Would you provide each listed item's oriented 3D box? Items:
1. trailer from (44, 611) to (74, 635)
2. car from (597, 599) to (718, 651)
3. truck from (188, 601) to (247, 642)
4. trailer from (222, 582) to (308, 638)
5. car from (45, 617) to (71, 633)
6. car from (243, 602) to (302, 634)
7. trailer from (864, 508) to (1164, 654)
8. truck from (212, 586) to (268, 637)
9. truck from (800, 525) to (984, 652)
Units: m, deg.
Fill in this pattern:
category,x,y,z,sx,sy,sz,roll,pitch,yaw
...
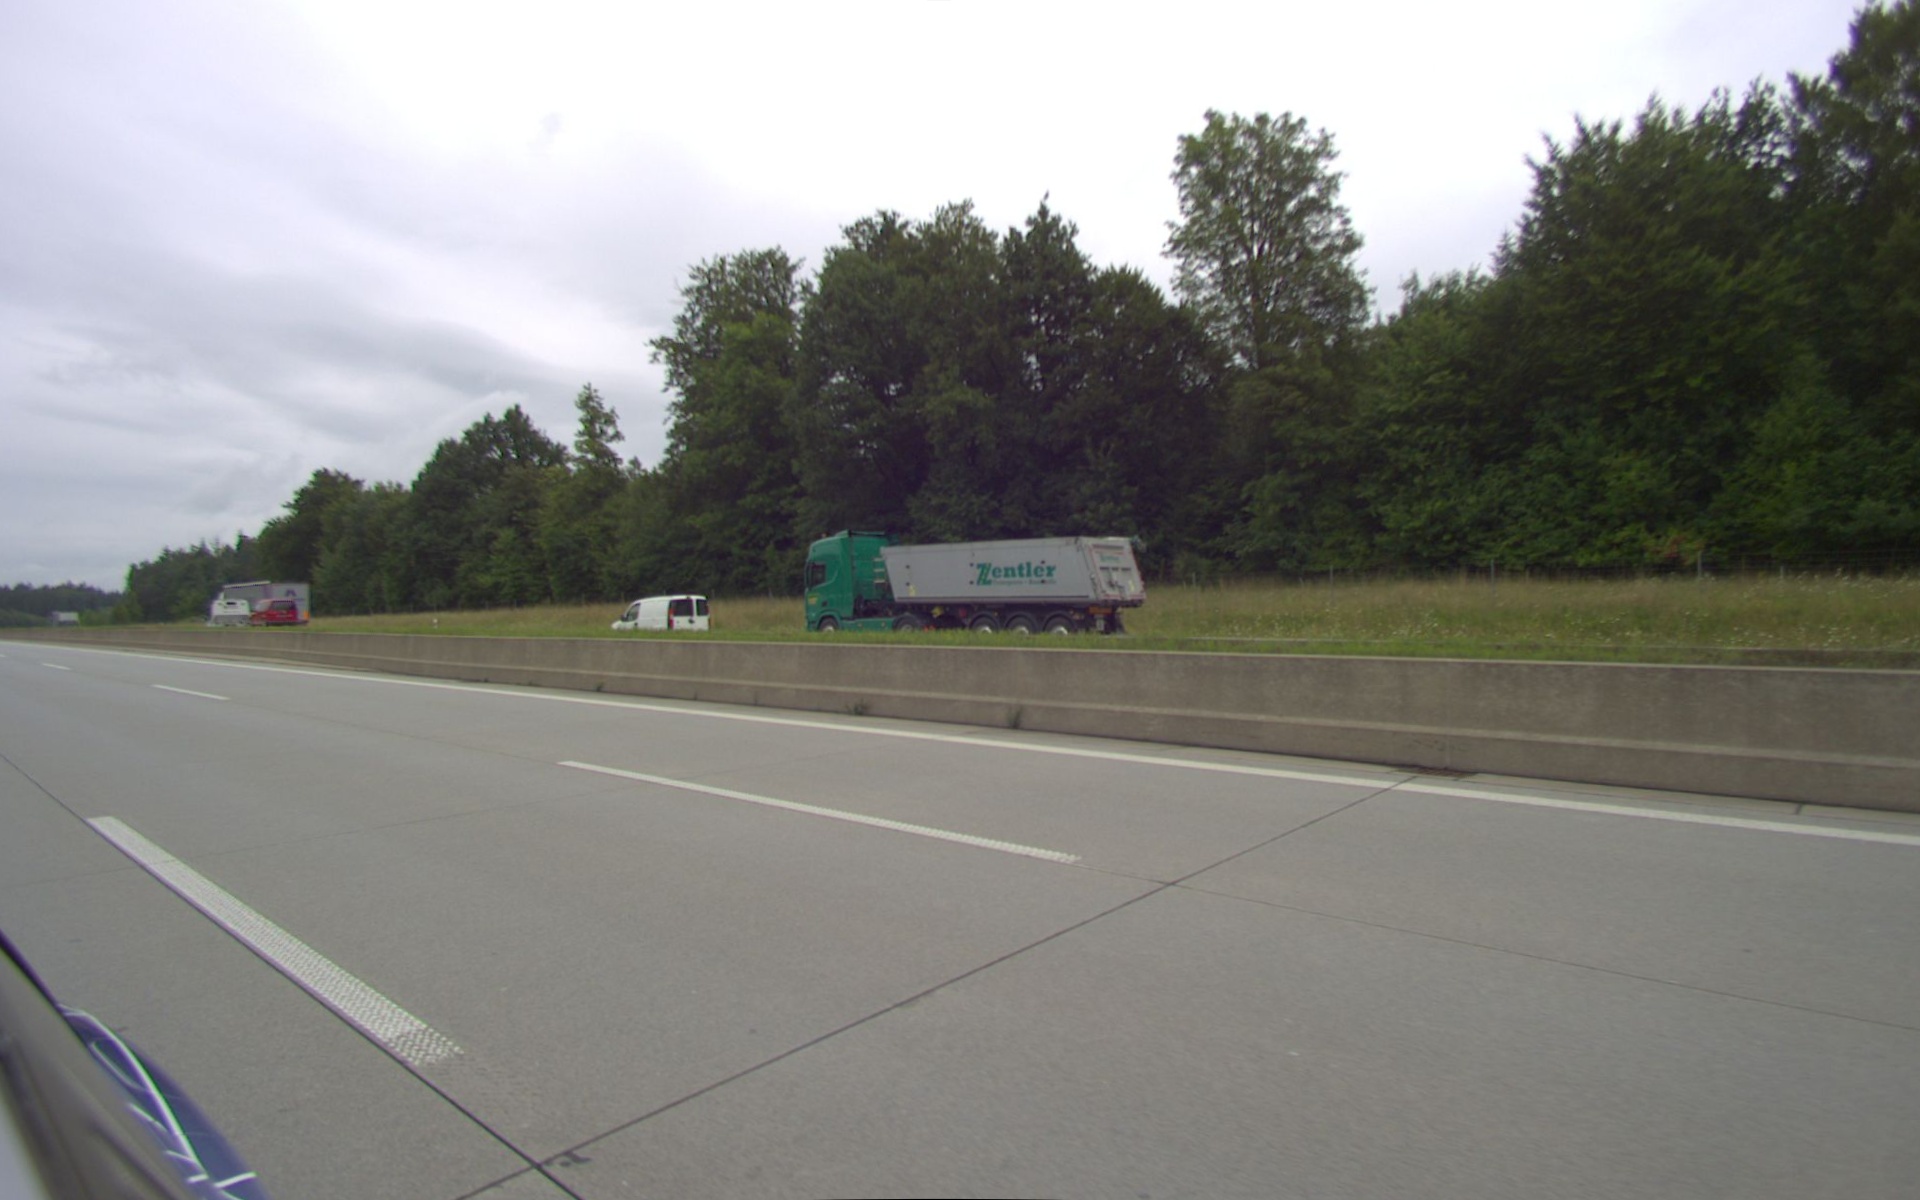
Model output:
category,x,y,z,sx,sy,sz,roll,pitch,yaw
trailer,-157.979,4.061,177.443,13.990,4.050,2.779,-2,-1,44
car,-10.214,0.833,33.997,4.559,1.611,1.761,-1,0,42
truck,-53.585,1.571,72.987,6.511,2.809,2.243,-1,-1,43
trailer,-55.192,0.865,80.121,13.972,4.134,2.471,-2,-1,42
car,-115.270,3.202,129.312,5.426,2.029,2.039,-2,-1,43
car,-43.190,1.122,63.521,5.314,1.896,1.972,-1,0,43
trailer,1.311,-0.408,29.895,9.008,3.728,2.775,-2,-1,41
truck,-60.453,0.986,84.934,6.460,4.157,2.482,-2,-1,42
truck,-2.293,-0.307,33.046,5.657,3.768,2.751,-2,-1,41
